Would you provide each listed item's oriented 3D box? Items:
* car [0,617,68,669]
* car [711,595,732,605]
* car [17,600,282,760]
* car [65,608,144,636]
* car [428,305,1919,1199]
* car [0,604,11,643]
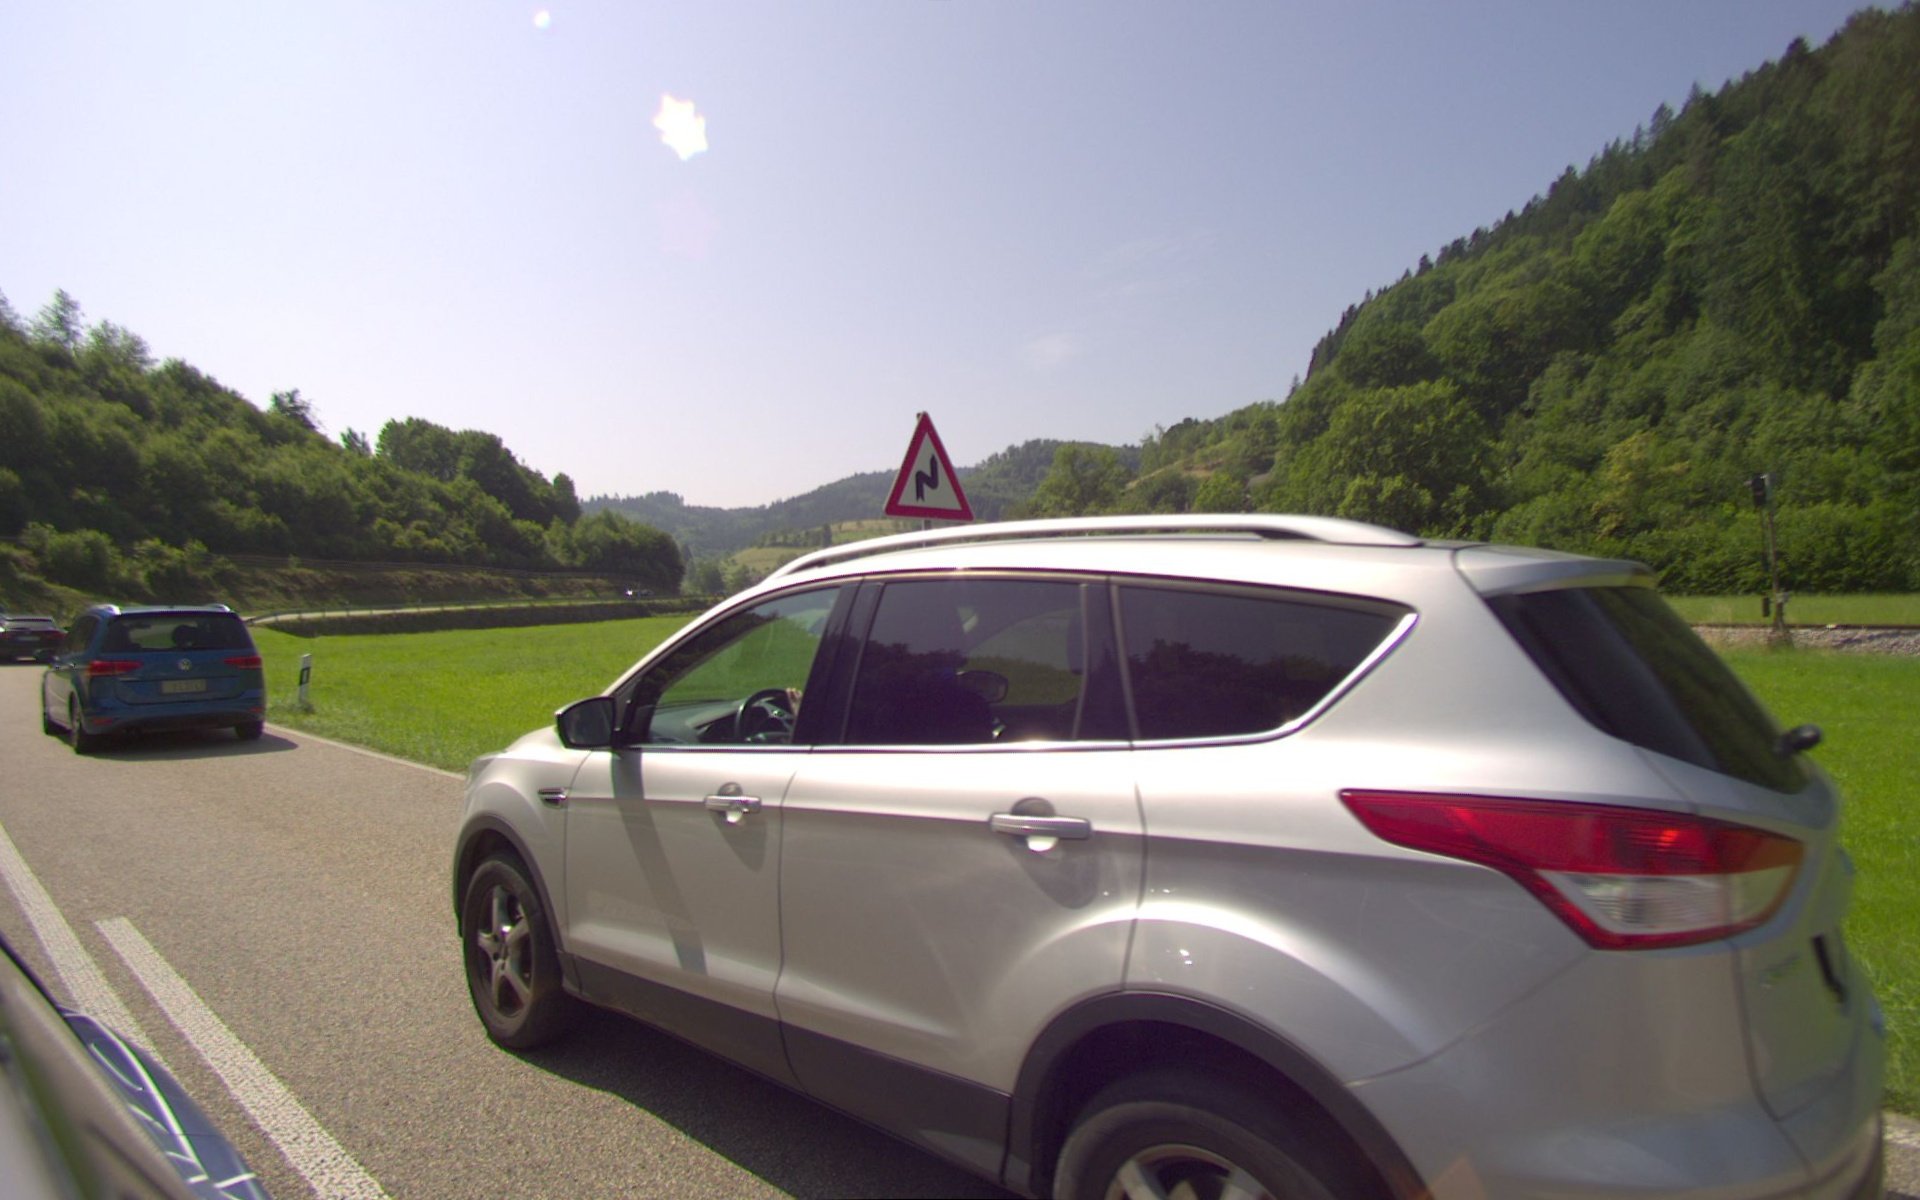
[{"bbox_3d":[-28.898,1.273,31.177,1.894,1.482,4.513,0,-1,-44],"label":"car"},{"bbox_3d":[-42.769,-0.042,181.514,1.934,1.753,4.880,0,-1,10],"label":"car"},{"bbox_3d":[-10.182,0.848,12.579,4.508,1.636,1.846,-1,-1,41],"label":"car"},{"bbox_3d":[-53.970,1.345,63.969,2.111,1.501,4.687,-3,1,-18],"label":"car"},{"bbox_3d":[0.283,0.614,2.921,4.158,1.727,1.895,-2,-1,42],"label":"car"},{"bbox_3d":[-46.224,1.122,47.289,2.084,1.828,4.466,0,-1,-35],"label":"car"}]
